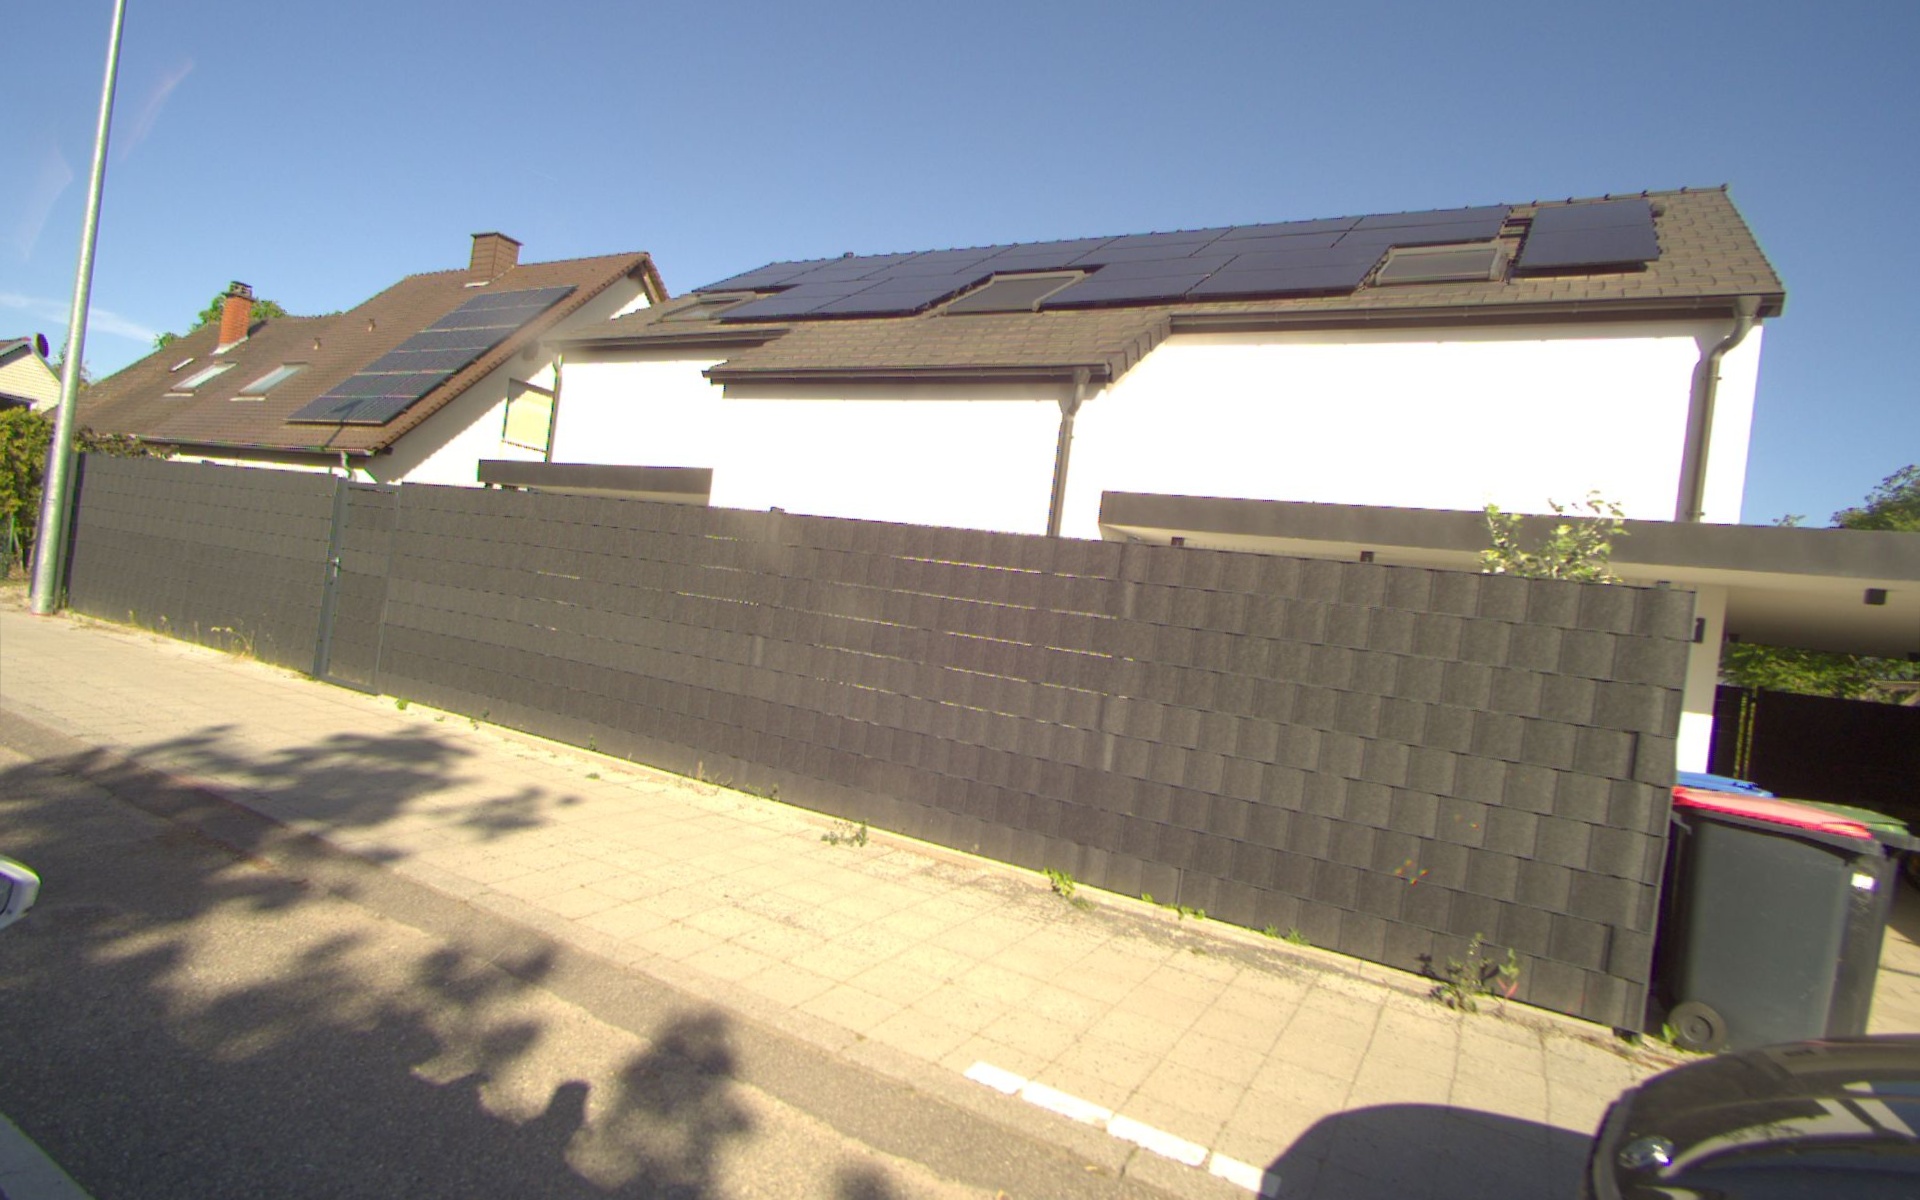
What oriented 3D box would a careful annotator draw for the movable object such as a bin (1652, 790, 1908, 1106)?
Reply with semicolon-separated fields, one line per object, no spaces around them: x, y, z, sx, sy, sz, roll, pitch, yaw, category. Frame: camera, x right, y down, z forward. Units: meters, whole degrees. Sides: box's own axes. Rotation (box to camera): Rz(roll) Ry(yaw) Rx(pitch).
3.448;1.418;4.297;0.693;1.052;0.595;5;-1;31;movable object such as a bin

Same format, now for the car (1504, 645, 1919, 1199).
3.126;1.119;0.528;4.906;1.498;1.768;7;1;30;car

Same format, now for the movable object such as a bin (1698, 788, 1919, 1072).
3.975;1.487;4.722;0.693;1.052;0.595;5;-1;31;movable object such as a bin

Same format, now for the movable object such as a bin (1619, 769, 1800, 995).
4.248;1.563;5.753;0.693;1.052;0.595;5;-1;31;movable object such as a bin
